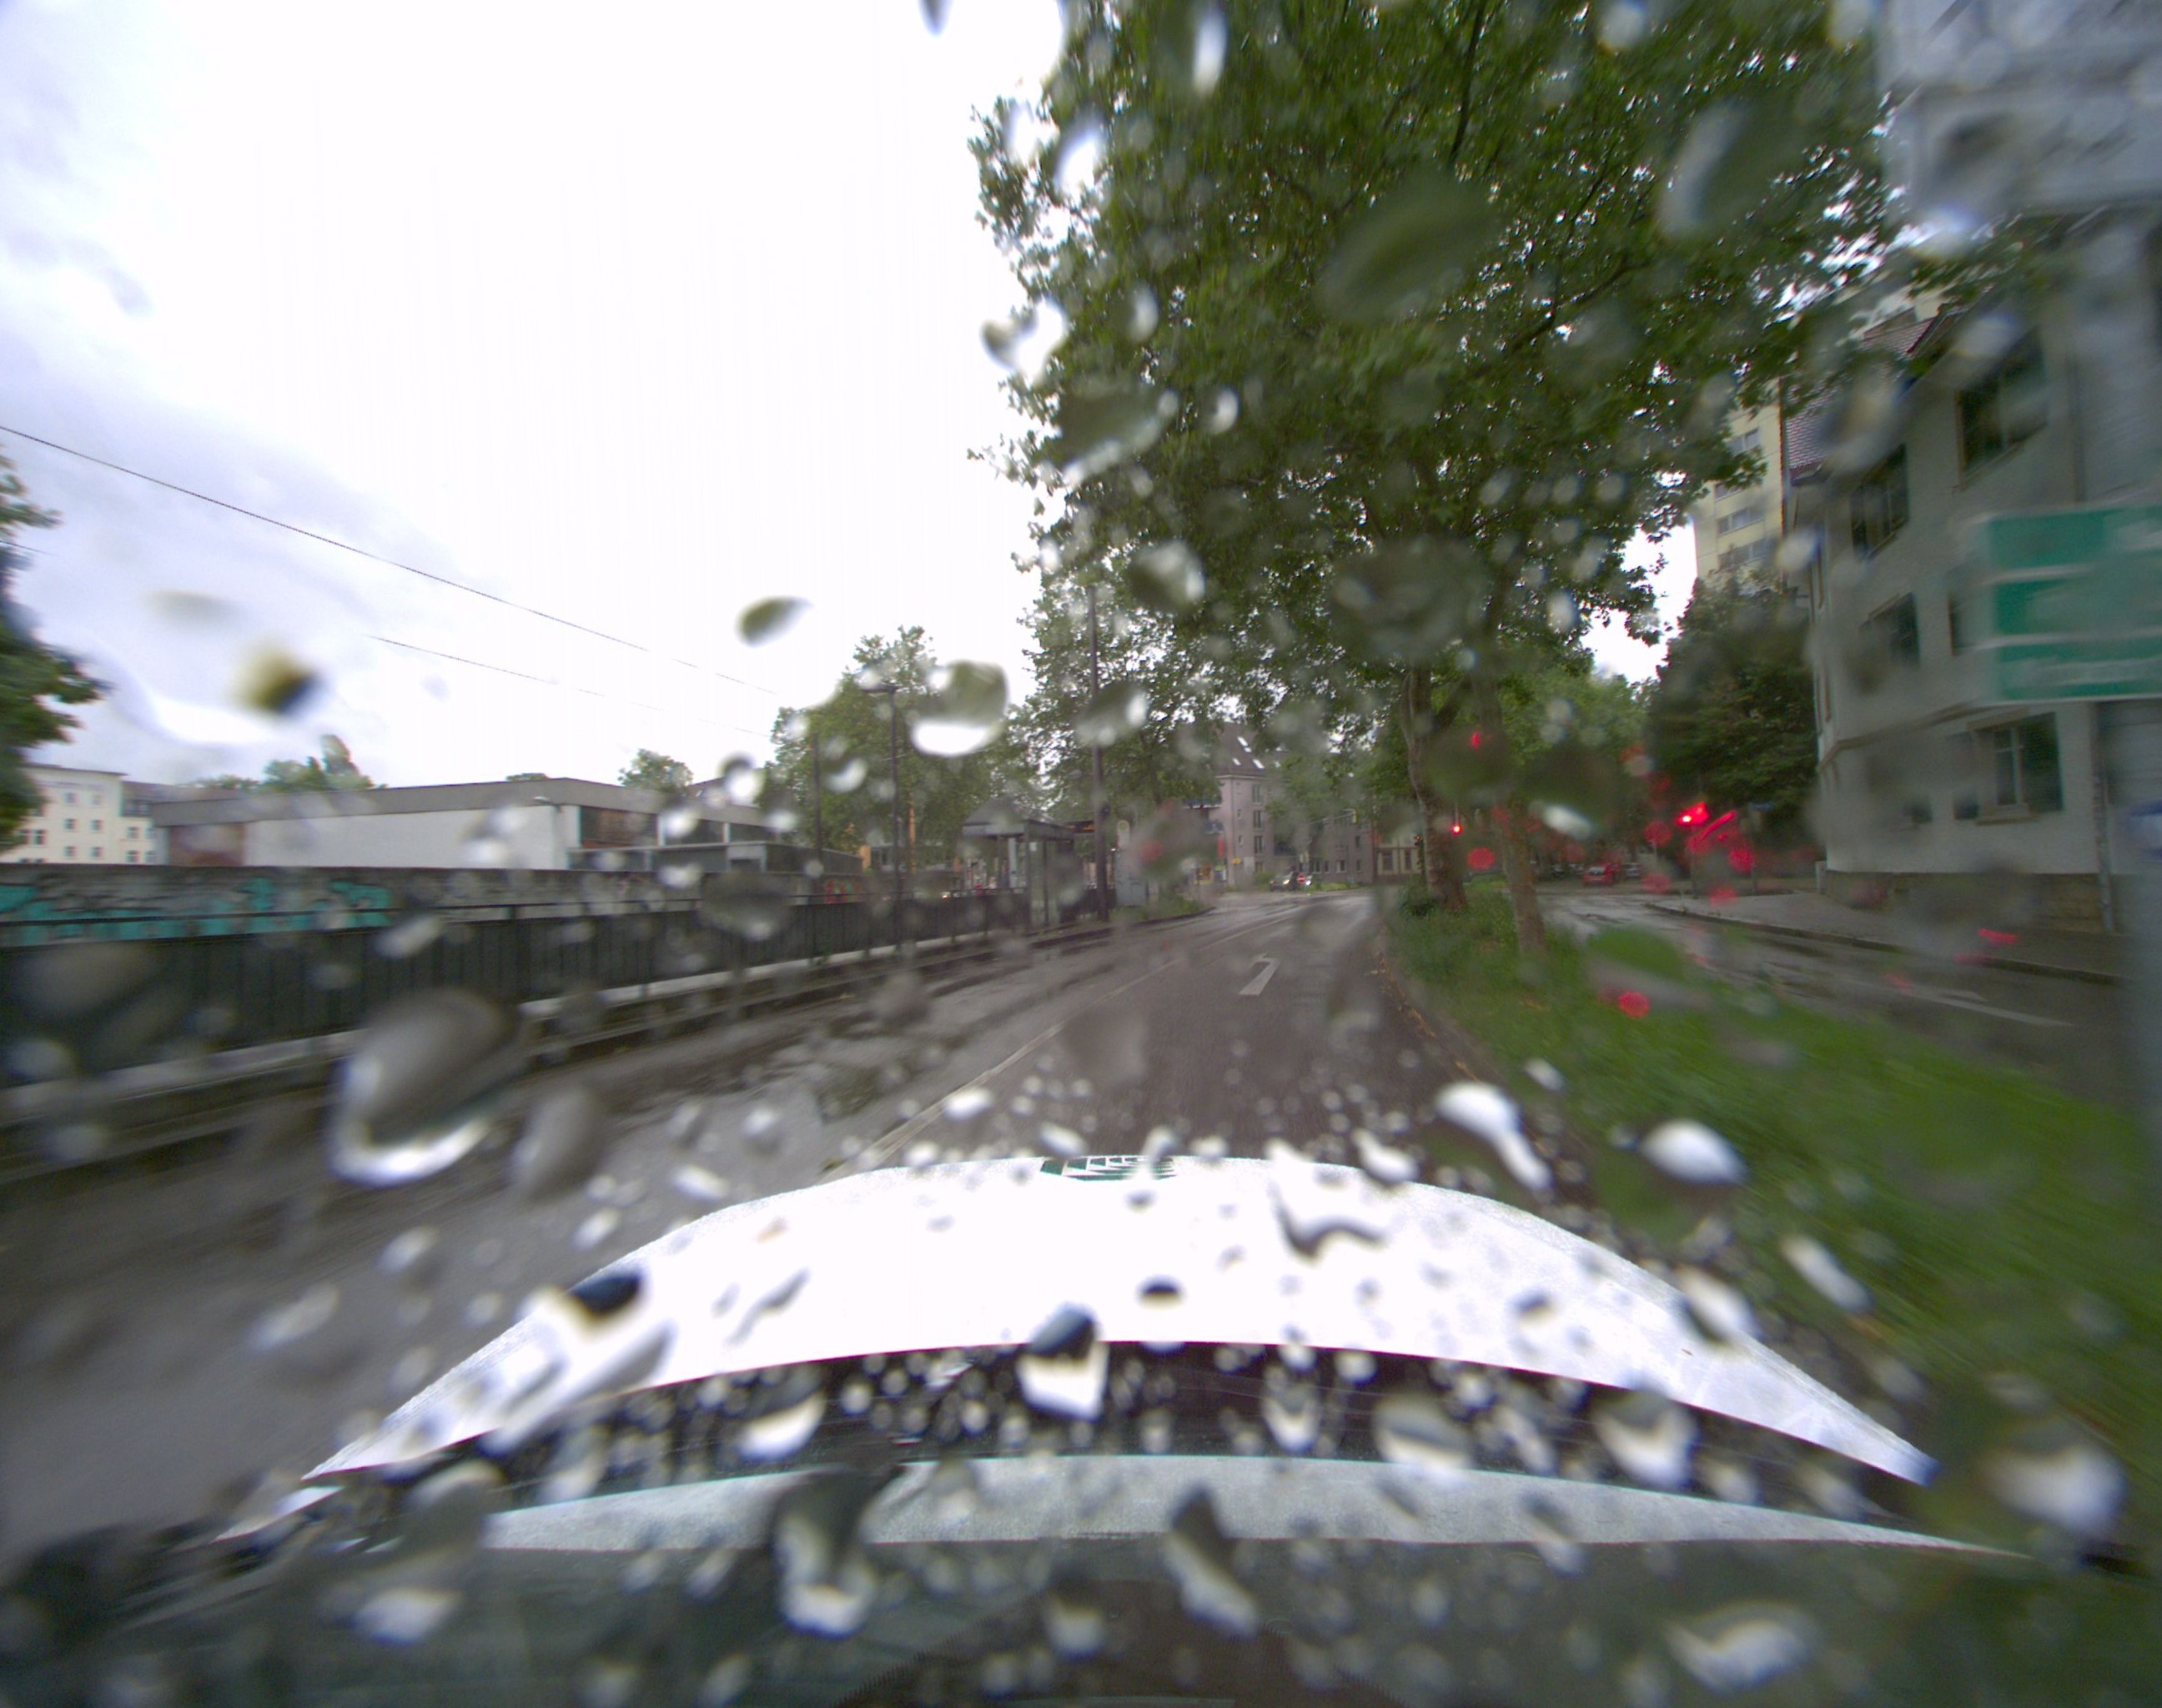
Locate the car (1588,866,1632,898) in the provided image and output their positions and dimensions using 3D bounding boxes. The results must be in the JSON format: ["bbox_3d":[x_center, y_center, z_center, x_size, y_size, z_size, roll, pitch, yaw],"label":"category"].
[{"bbox_3d":[37.135,1.978,57.144,1.974,2.014,4.025,-6,-4,40],"label":"car"}]

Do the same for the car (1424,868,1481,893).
[{"bbox_3d":[26.507,1.908,58.163,3.445,1.523,1.529,-6,-4,33],"label":"car"}]

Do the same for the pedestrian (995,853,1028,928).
[{"bbox_3d":[-1.659,0.875,19.499,0.582,1.731,0.564,-2,-3,-18],"label":"pedestrian"}]

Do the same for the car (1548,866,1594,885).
[{"bbox_3d":[50.245,2.213,83.539,1.689,1.618,3.576,-1,-4,-37],"label":"car"}]

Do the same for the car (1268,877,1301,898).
[{"bbox_3d":[17.148,2.796,68.619,1.708,1.553,3.581,-5,-4,30],"label":"car"}]

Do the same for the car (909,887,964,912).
[{"bbox_3d":[-11.262,3.523,63.476,3.967,1.651,1.985,-6,-4,36],"label":"car"}]

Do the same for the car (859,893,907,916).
[{"bbox_3d":[-16.334,4.165,67.077,3.744,1.639,1.736,-6,-4,36],"label":"car"}]
